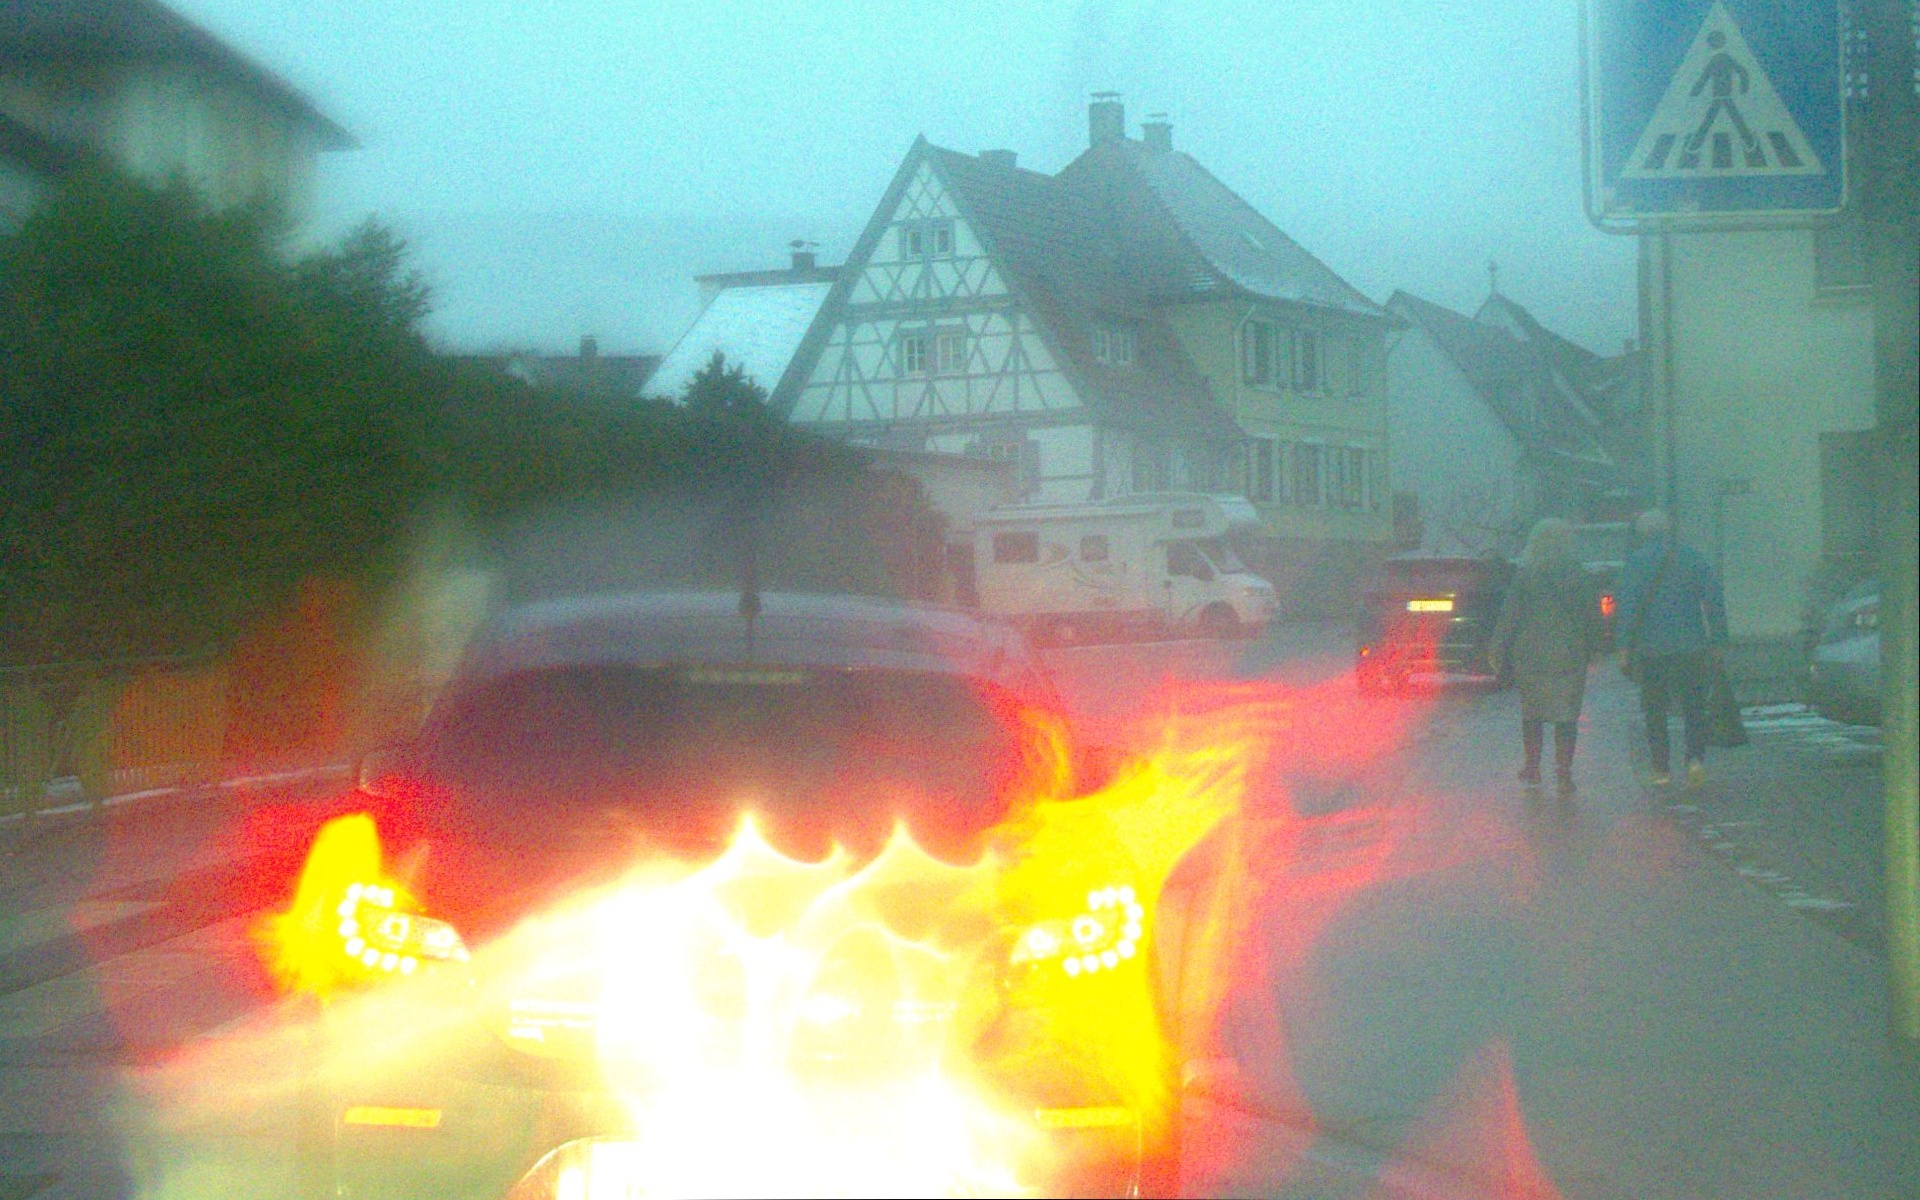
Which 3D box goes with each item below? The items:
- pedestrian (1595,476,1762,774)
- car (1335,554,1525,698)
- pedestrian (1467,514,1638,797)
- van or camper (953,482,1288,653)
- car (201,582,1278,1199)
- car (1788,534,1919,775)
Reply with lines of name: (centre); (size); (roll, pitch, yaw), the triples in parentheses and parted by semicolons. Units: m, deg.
pedestrian: (4.395, 0.142, 20.981); (0.849, 1.727, 0.971); (-4, 0, 14)
car: (5.685, 0.278, 41.204); (1.849, 1.631, 4.333); (0, 0, 13)
pedestrian: (3.676, 0.331, 21.285); (0.867, 1.661, 0.991); (-4, 0, 14)
van or camper: (3.197, -0.629, 68.681); (6.067, 2.945, 2.404); (-4, -1, 22)
car: (-0.509, 0.709, 7.744); (1.795, 1.471, 4.001); (0, 1, -4)
car: (7.382, 0.260, 21.936); (3.901, 1.469, 1.750); (-2, 0, 9)
